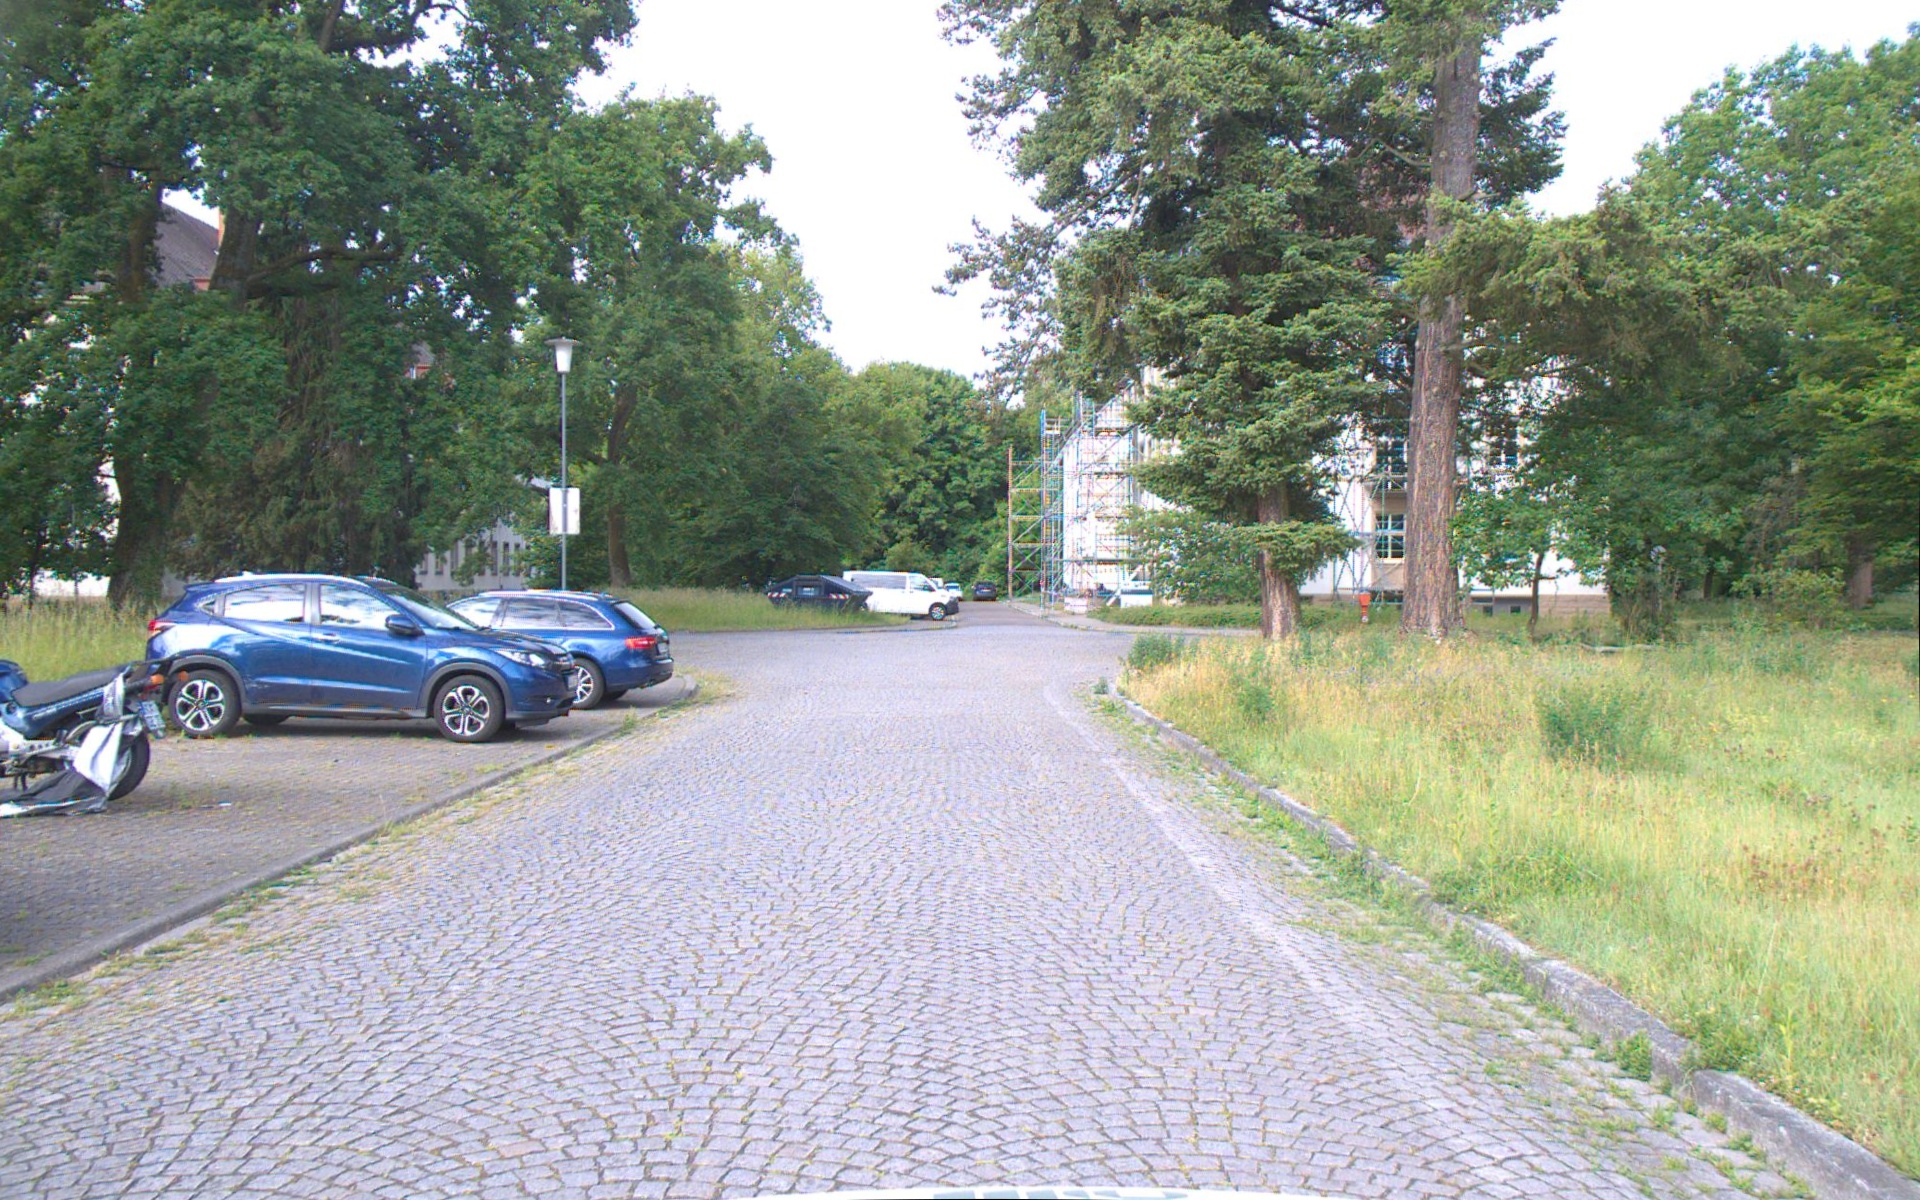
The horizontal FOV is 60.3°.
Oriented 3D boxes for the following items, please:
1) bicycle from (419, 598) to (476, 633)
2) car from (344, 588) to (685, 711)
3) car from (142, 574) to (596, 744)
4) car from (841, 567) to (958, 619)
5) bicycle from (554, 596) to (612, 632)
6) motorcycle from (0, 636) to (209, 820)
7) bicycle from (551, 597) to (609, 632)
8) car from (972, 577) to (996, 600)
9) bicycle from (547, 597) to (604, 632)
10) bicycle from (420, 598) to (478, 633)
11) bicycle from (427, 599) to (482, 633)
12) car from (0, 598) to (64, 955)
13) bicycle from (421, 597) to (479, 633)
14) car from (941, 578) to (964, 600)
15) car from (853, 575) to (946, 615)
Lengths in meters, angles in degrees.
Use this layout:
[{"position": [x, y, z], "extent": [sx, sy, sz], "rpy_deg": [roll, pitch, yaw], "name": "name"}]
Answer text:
[{"position": [-16.038, 0.487, 51.729], "extent": [1.677, 1.072, 0.571], "rpy_deg": [0, -1, -21], "name": "bicycle"}, {"position": [-5.737, 0.611, 21.569], "extent": [3.986, 1.492, 1.626], "rpy_deg": [0, 1, 3], "name": "car"}, {"position": [-5.890, 0.559, 16.870], "extent": [3.989, 1.632, 1.787], "rpy_deg": [0, 1, -2], "name": "car"}, {"position": [-2.581, -0.291, 70.580], "extent": [4.878, 2.109, 2.051], "rpy_deg": [1, -1, -2], "name": "car"}, {"position": [-11.398, 0.428, 49.997], "extent": [1.677, 1.072, 0.571], "rpy_deg": [0, -1, -21], "name": "bicycle"}, {"position": [-6.310, 0.843, 11.180], "extent": [2.180, 1.179, 0.647], "rpy_deg": [0, 1, 2], "name": "motorcycle"}, {"position": [-11.612, 0.437, 50.557], "extent": [1.677, 1.072, 0.571], "rpy_deg": [0, -1, -21], "name": "bicycle"}, {"position": [1.959, -0.944, 137.008], "extent": [1.754, 1.750, 4.059], "rpy_deg": [0, -1, -2], "name": "car"}, {"position": [-11.951, 0.452, 51.447], "extent": [1.677, 1.072, 0.571], "rpy_deg": [0, -1, -21], "name": "bicycle"}, {"position": [-15.687, 0.471, 50.761], "extent": [1.677, 1.072, 0.571], "rpy_deg": [0, -1, -21], "name": "bicycle"}, {"position": [-16.373, 0.515, 53.536], "extent": [1.677, 1.072, 0.571], "rpy_deg": [0, -1, -21], "name": "bicycle"}, {"position": [-5.954, 0.757, 6.619], "extent": [3.738, 1.515, 1.787], "rpy_deg": [0, 1, -2], "name": "car"}, {"position": [-15.488, 0.462, 50.217], "extent": [1.677, 1.072, 0.571], "rpy_deg": [0, -1, -21], "name": "bicycle"}, {"position": [-0.609, -0.887, 136.652], "extent": [1.754, 1.665, 4.059], "rpy_deg": [0, -1, -2], "name": "car"}, {"position": [-3.217, -0.249, 87.988], "extent": [4.878, 2.003, 2.051], "rpy_deg": [1, -1, -2], "name": "car"}]
